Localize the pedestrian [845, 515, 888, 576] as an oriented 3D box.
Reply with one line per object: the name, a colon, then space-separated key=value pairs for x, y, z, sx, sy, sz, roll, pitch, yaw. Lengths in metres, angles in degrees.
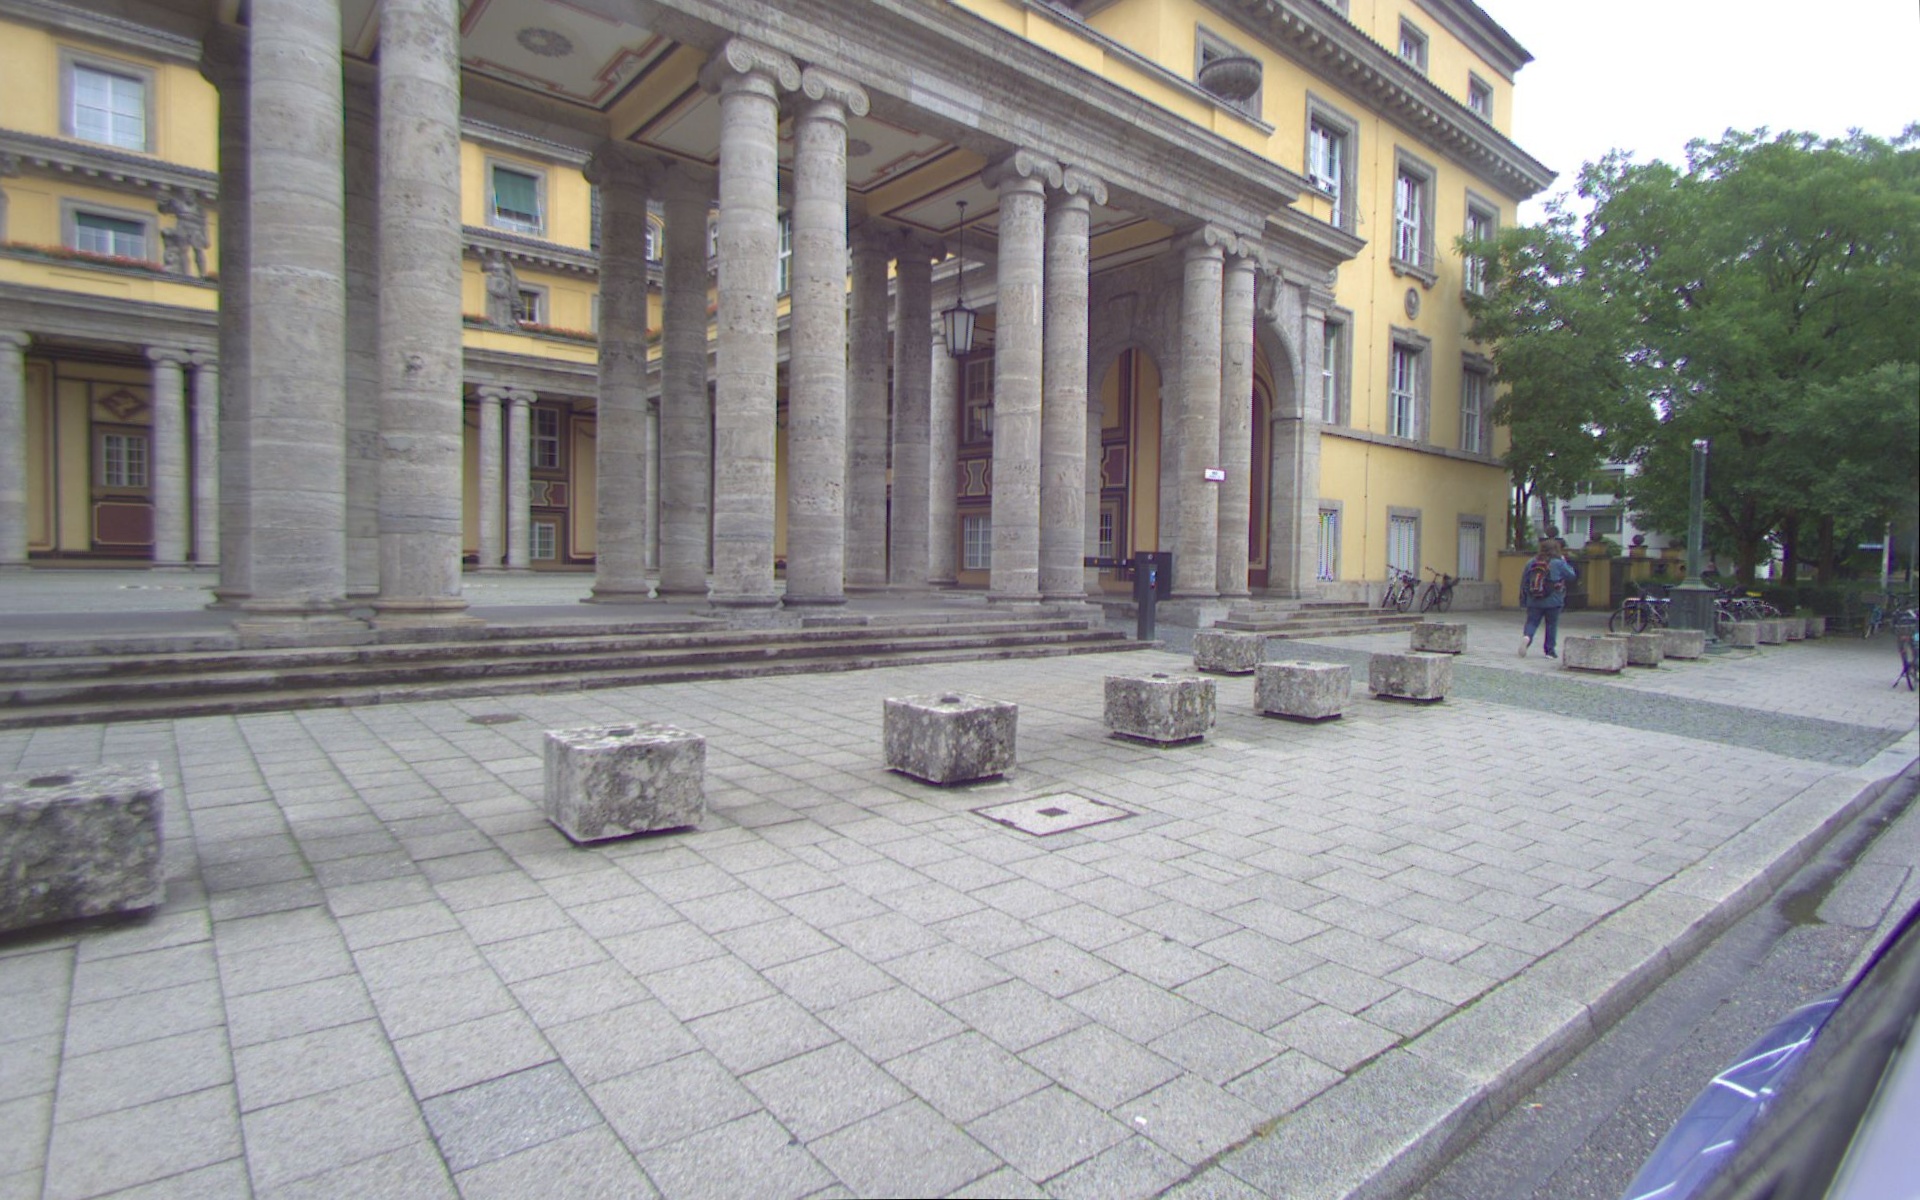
pedestrian: x=-2.757 y=-1.607 z=29.895 sx=0.968 sy=1.742 sz=0.805 roll=-1 pitch=0 yaw=-42

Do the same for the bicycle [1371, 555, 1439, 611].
bicycle: x=11.089 y=-0.438 z=25.192 sx=2.224 sy=1.323 sz=0.601 roll=-1 pitch=3 yaw=-41

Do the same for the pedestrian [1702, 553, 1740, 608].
pedestrian: x=27.488 y=-0.722 z=36.551 sx=1.017 sy=1.887 sz=0.782 roll=-1 pitch=6 yaw=-41

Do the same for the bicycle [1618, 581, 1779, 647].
bicycle: x=13.942 y=0.226 z=19.173 sx=2.362 sy=1.018 sz=0.668 roll=6 pitch=5 yaw=42

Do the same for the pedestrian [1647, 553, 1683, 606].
pedestrian: x=24.505 y=-0.722 z=35.173 sx=0.827 sy=1.764 sz=0.741 roll=-1 pitch=6 yaw=-40

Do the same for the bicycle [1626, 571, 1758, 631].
bicycle: x=16.188 y=-0.007 z=22.434 sx=2.256 sy=1.035 sz=0.593 roll=9 pitch=8 yaw=39

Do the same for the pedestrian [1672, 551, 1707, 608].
pedestrian: x=24.959 y=-0.719 z=34.626 sx=0.806 sy=1.887 sz=0.659 roll=-1 pitch=6 yaw=-40

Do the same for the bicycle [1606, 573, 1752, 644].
bicycle: x=14.439 y=0.134 z=20.381 sx=2.256 sy=1.107 sz=0.593 roll=9 pitch=8 yaw=39

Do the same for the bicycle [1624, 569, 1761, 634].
bicycle: x=15.653 y=0.008 z=21.676 sx=2.256 sy=1.071 sz=0.593 roll=9 pitch=8 yaw=39

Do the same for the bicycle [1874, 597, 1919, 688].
bicycle: x=13.272 y=0.559 z=13.892 sx=2.225 sy=1.113 sz=0.762 roll=-1 pitch=5 yaw=-41

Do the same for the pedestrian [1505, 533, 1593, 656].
pedestrian: x=8.839 y=-0.111 z=15.189 sx=1.037 sy=1.767 sz=0.789 roll=-1 pitch=3 yaw=-41

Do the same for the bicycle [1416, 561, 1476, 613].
bicycle: x=12.841 y=-0.354 z=26.708 sx=2.127 sy=1.323 sz=0.601 roll=-1 pitch=3 yaw=-41

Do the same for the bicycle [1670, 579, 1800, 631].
bicycle: x=17.999 y=0.096 z=23.566 sx=0.591 sy=1.023 sz=2.264 roll=1 pitch=4 yaw=-37
